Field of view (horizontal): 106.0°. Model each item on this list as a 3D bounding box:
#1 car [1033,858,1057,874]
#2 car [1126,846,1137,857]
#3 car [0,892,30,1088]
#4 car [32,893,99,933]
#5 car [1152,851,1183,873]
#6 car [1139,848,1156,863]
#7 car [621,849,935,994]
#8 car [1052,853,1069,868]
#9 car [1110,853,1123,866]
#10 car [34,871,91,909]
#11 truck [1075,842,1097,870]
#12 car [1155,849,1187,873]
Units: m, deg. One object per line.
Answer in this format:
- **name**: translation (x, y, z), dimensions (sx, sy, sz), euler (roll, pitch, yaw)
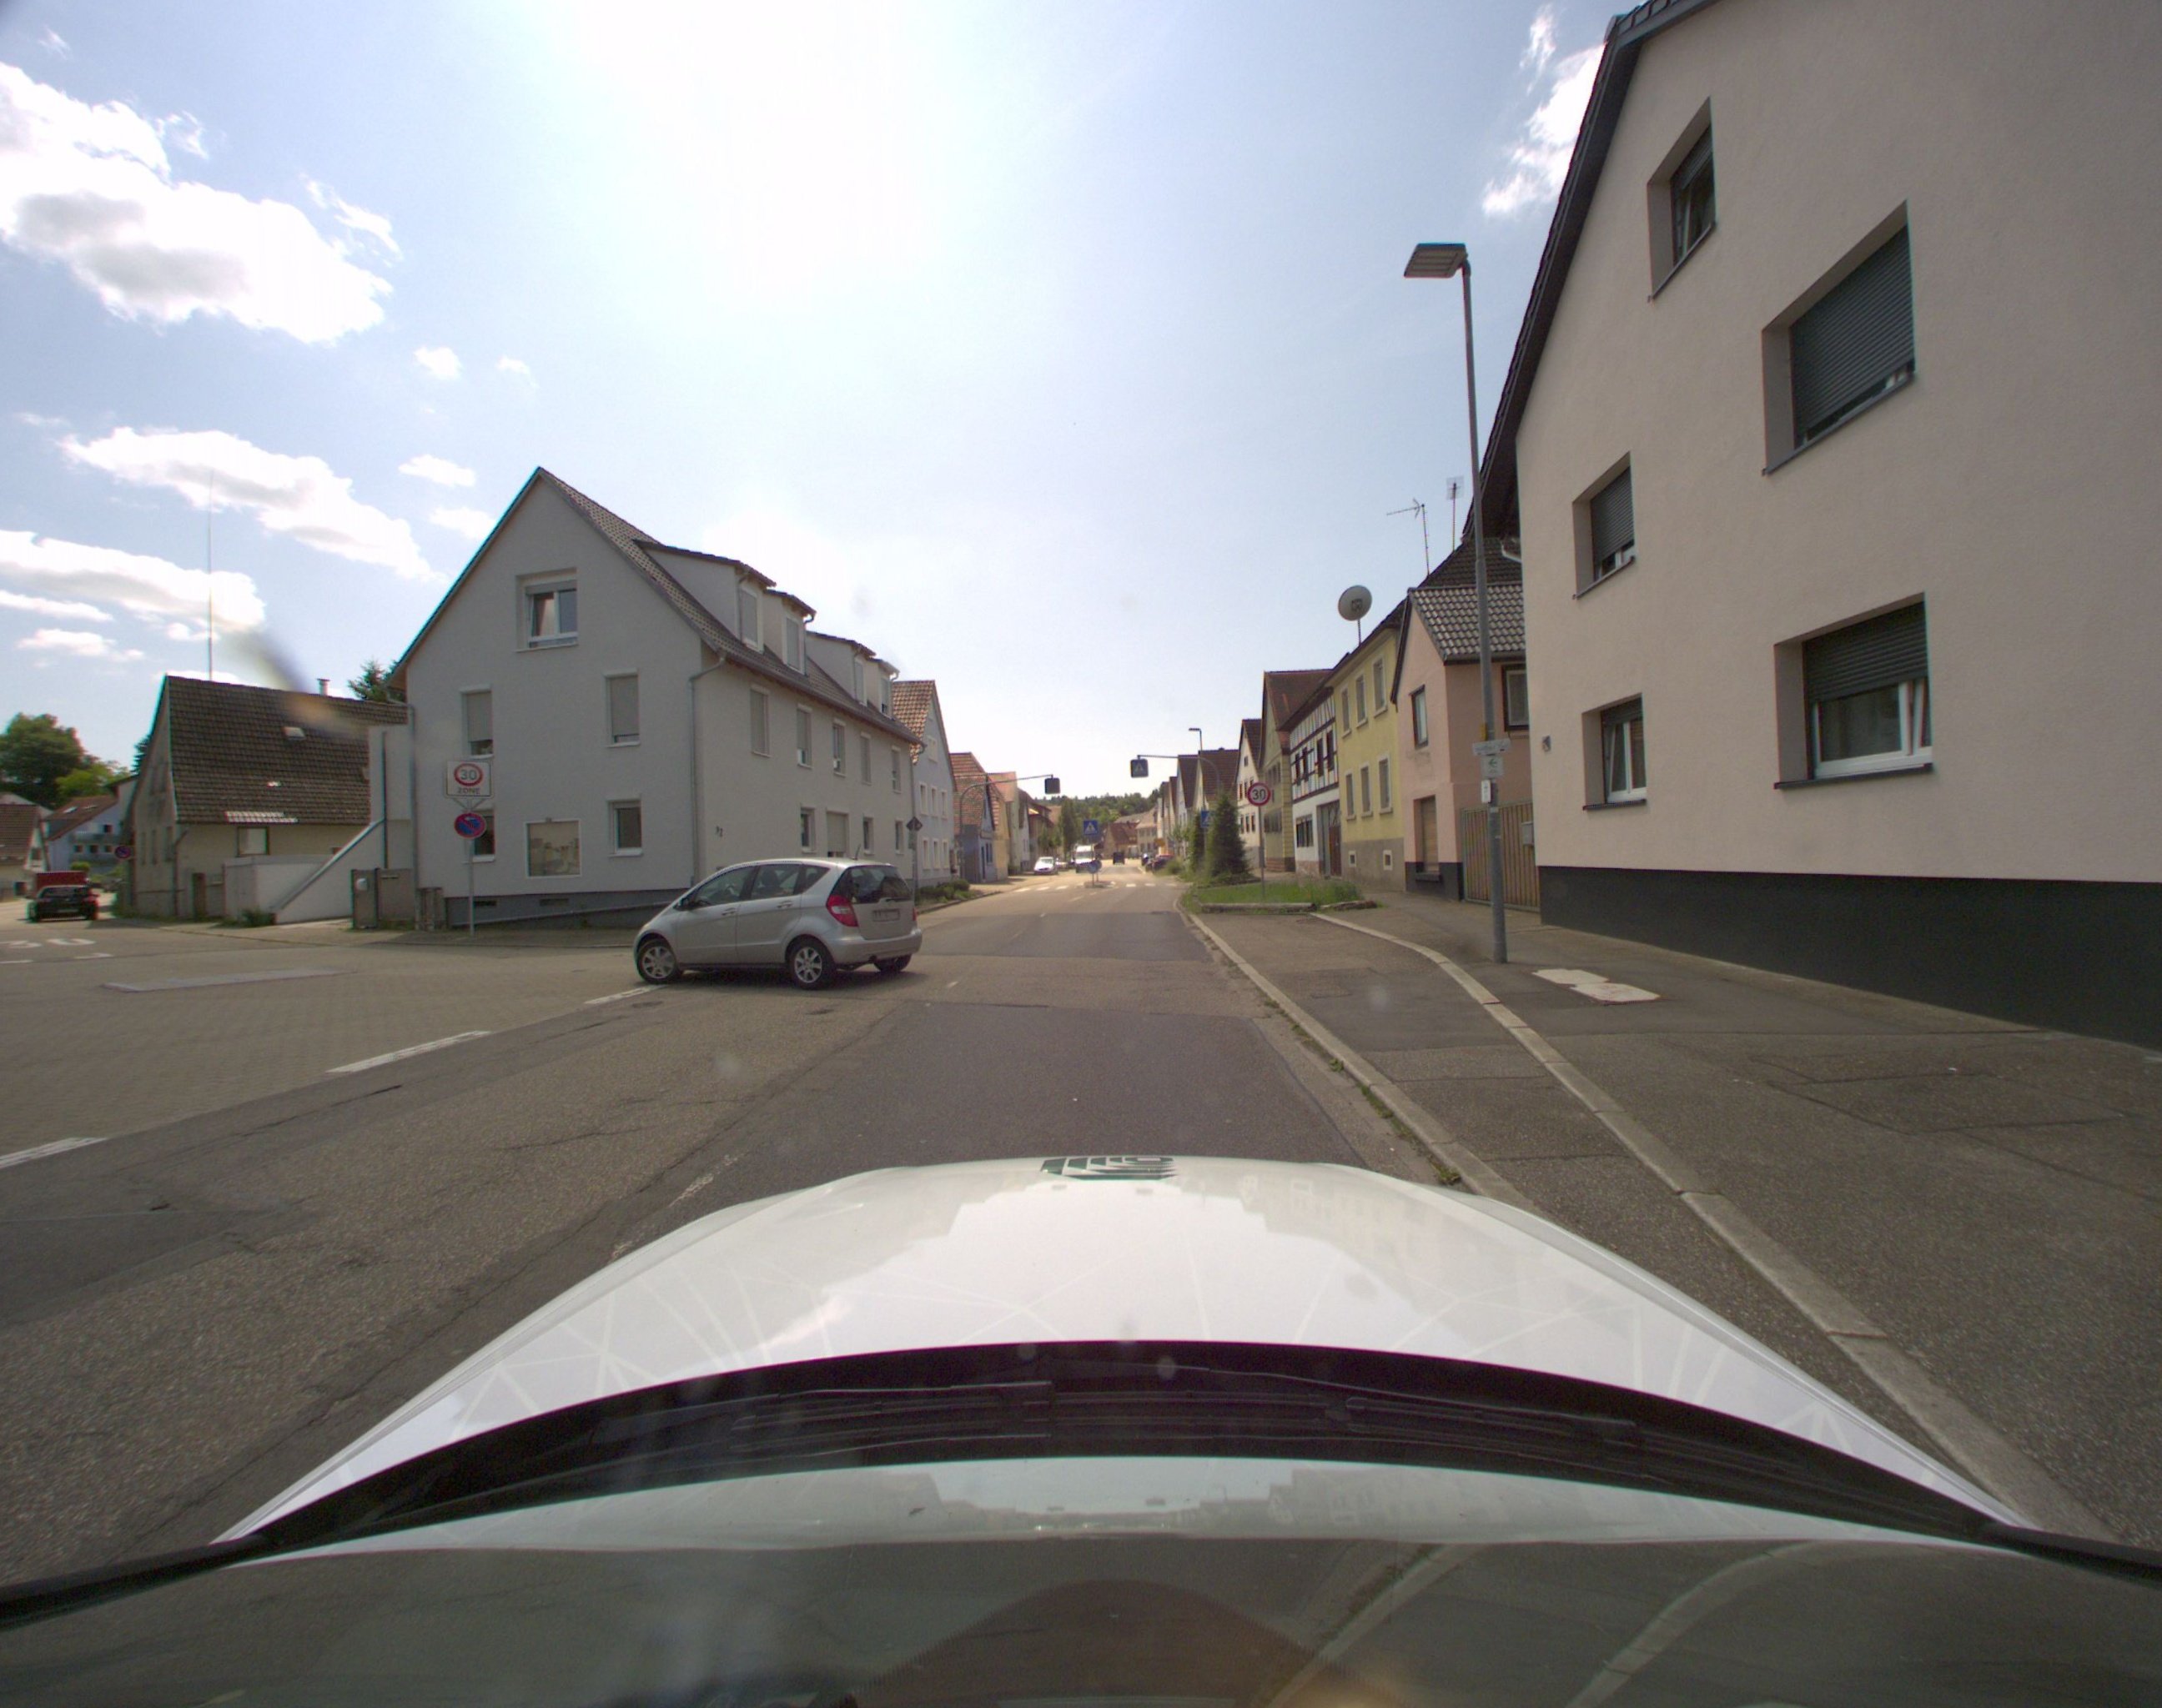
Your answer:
- **car**: translation (-3.210, 1.079, 72.394), dimensions (1.989, 1.321, 3.704), euler (-1, -2, -3)
- **car**: translation (9.732, -0.430, 155.997), dimensions (1.986, 2.014, 4.001), euler (-1, -2, 2)
- **car**: translation (-7.484, 0.897, 3.739), dimensions (1.821, 1.412, 4.587), euler (0, -3, -33)
- **car**: translation (-42.183, 2.420, 33.812), dimensions (3.431, 1.530, 1.500), euler (-3, -3, 35)
- **car**: translation (6.474, 0.652, 61.338), dimensions (1.986, 1.508, 4.001), euler (-1, -2, 2)
- **car**: translation (8.531, 0.187, 104.960), dimensions (1.986, 1.816, 4.000), euler (-1, -2, 1)
- **car**: translation (-4.016, 0.786, 10.840), dimensions (3.683, 1.643, 1.827), euler (0, -1, 24)
- **car**: translation (-2.279, 0.723, 92.647), dimensions (1.660, 1.596, 4.001), euler (-1, -2, 2)
- **car**: translation (5.573, 0.903, 127.492), dimensions (1.986, 1.816, 4.000), euler (-1, -2, 1)
- **car**: translation (-46.568, 1.646, 37.223), dimensions (3.431, 1.635, 1.406), euler (-3, -3, 35)
- **truck**: translation (0.500, 0.233, 80.354), dimensions (1.986, 2.537, 6.740), euler (-1, -2, 1)
- **car**: translation (6.283, 0.511, 57.316), dimensions (1.986, 1.508, 4.001), euler (-1, -2, 2)
